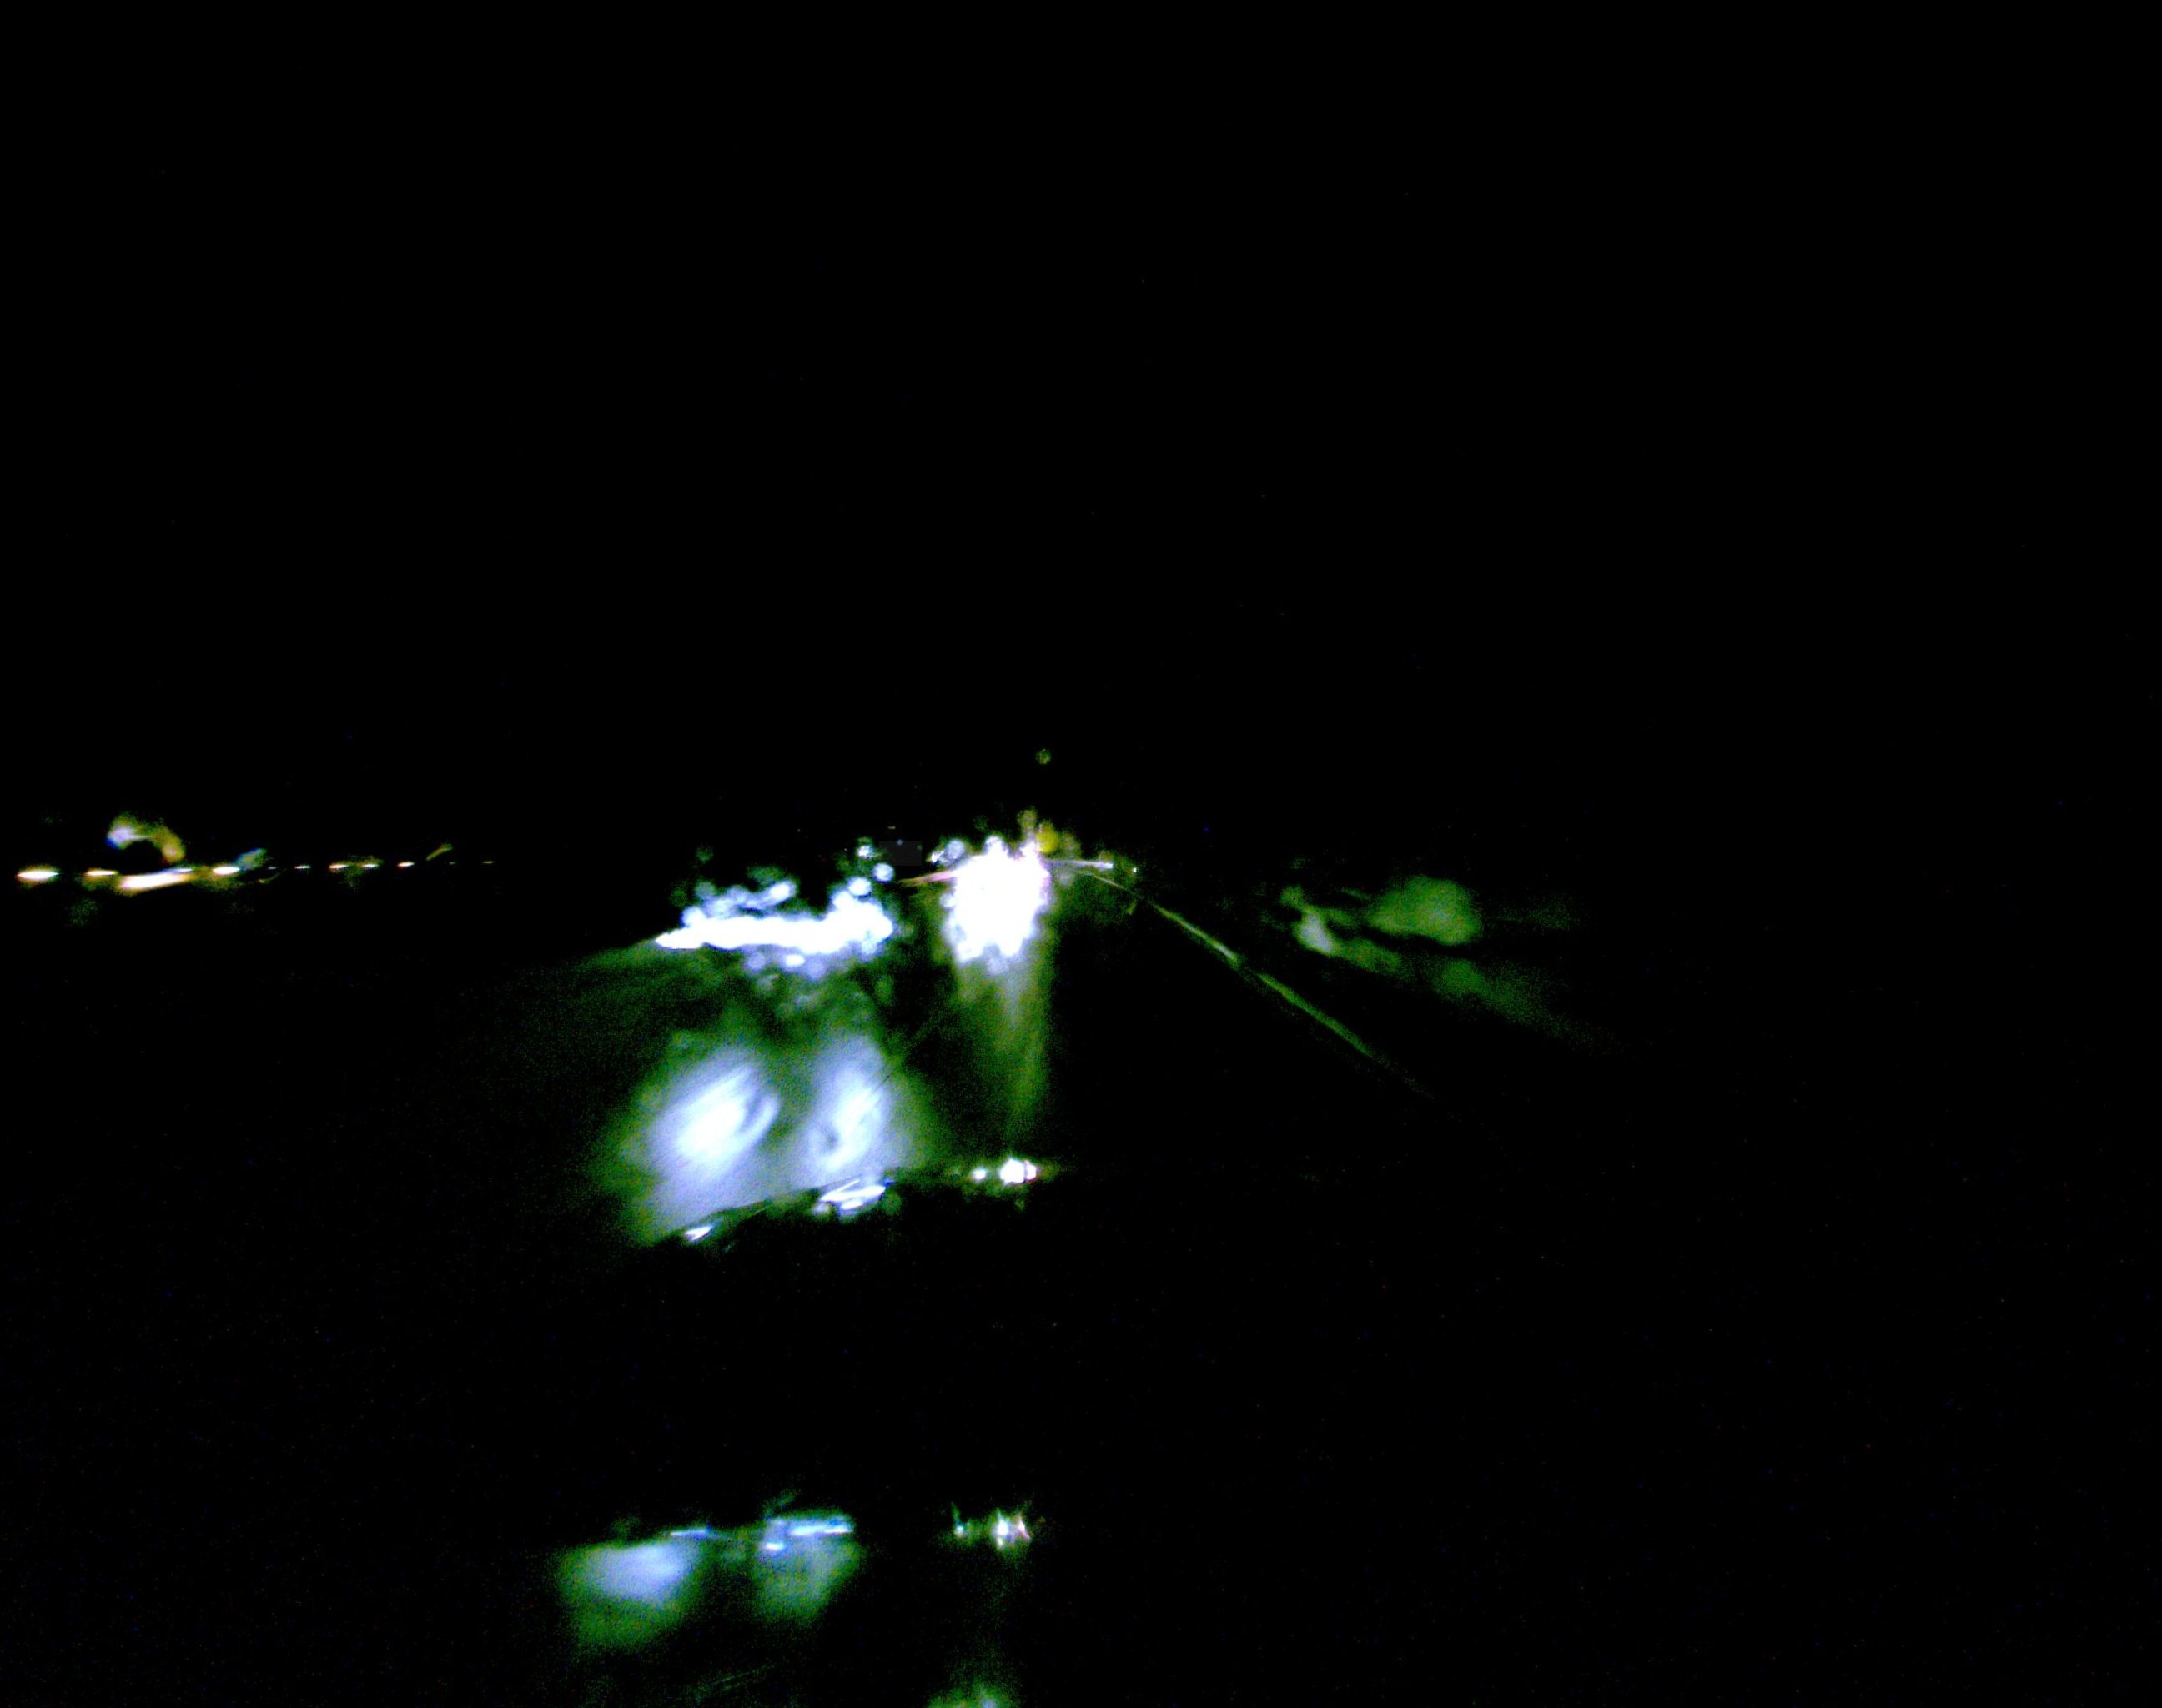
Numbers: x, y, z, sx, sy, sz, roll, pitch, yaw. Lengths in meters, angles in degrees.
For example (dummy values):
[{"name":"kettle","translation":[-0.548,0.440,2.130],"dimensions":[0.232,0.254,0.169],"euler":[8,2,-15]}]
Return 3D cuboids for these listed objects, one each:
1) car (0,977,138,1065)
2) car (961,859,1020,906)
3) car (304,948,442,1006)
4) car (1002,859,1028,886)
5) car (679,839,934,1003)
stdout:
[{"name":"car","translation":[-27.074,4.270,20.532],"dimensions":[1.805,1.676,4.285],"euler":[-1,0,-5]},{"name":"car","translation":[-3.690,1.107,34.094],"dimensions":[1.988,1.806,4.594],"euler":[-1,0,-1]},{"name":"car","translation":[-27.179,4.664,31.468],"dimensions":[1.805,1.570,4.285],"euler":[-1,0,-5]},{"name":"car","translation":[-5.008,1.368,62.322],"dimensions":[1.784,1.622,4.373],"euler":[-1,4,-3]},{"name":"car","translation":[-3.226,0.699,10.576],"dimensions":[1.802,1.676,4.292],"euler":[-1,0,0]}]
